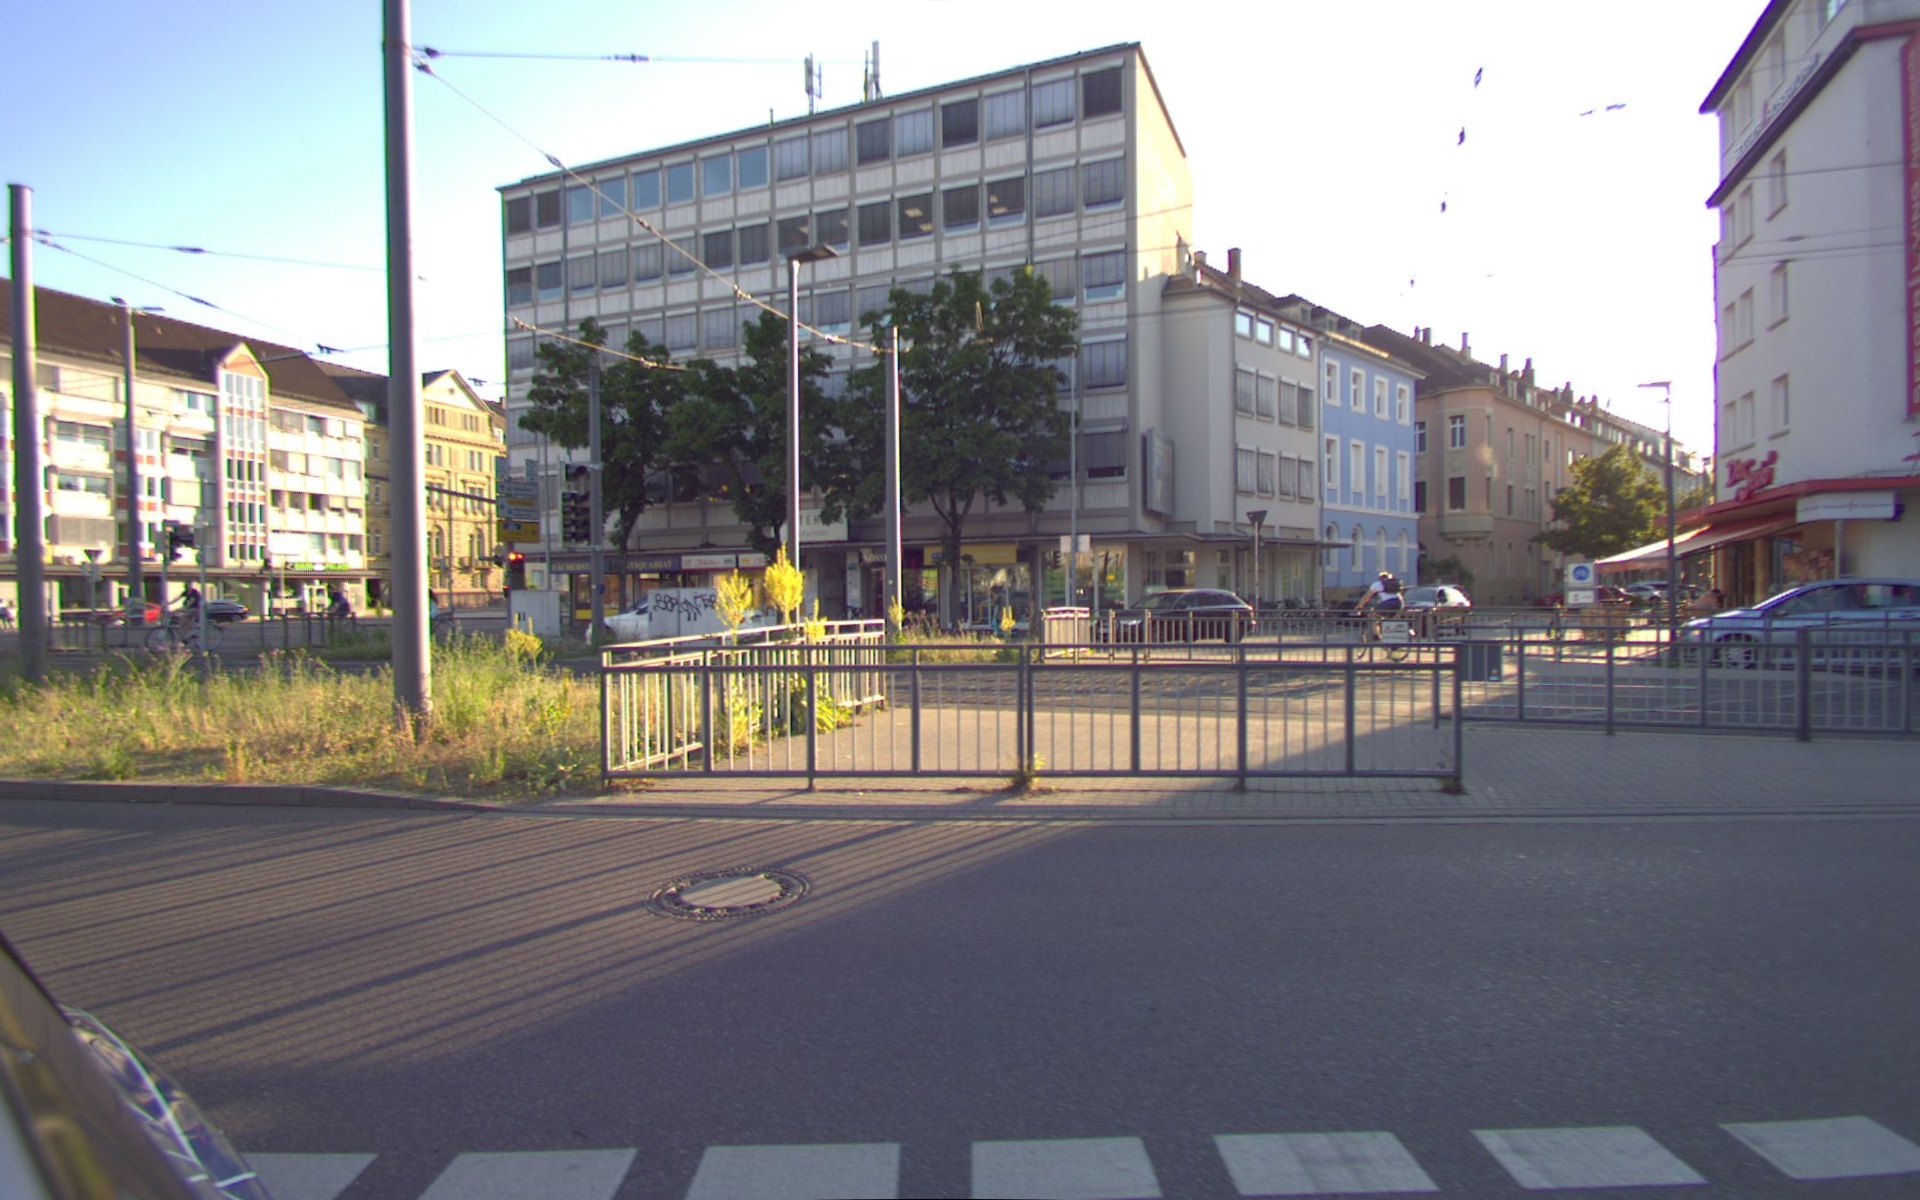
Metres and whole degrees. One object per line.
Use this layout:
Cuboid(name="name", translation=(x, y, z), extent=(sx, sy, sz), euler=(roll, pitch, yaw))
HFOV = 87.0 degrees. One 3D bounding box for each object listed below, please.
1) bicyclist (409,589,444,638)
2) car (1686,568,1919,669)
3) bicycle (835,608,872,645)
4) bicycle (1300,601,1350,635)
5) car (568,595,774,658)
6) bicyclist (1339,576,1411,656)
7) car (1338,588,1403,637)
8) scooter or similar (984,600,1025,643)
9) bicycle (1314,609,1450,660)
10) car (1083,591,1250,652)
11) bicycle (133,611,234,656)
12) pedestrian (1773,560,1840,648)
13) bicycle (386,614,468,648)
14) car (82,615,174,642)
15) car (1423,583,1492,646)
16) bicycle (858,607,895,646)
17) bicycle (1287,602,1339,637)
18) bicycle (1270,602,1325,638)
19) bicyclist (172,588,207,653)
Cuboid(name="bicyclist", translation=(-15.196, 0.386, 28.844), extent=(0.673, 1.380, 0.717), euler=(-1, 0, -6))
Cuboid(name="car", translation=(14.848, 0.276, 16.977), extent=(4.270, 1.571, 2.179), euler=(0, 1, 35))
Cuboid(name="bicycle", translation=(-3.548, 0.876, 33.912), extent=(0.660, 1.148, 1.737), euler=(0, 1, 15))
Cuboid(name="bicycle", translation=(13.727, 0.666, 38.064), extent=(1.685, 1.195, 0.479), euler=(3, 2, 40))
Cuboid(name="car", translation=(-7.277, 0.659, 25.639), extent=(4.616, 1.451, 2.032), euler=(-1, 1, 14))
Cuboid(name="bicyclist", translation=(7.738, 0.290, 18.911), extent=(0.821, 1.452, 0.934), euler=(0, 0, -23))
Cuboid(name="car", translation=(14.244, 0.397, 35.004), extent=(1.875, 1.586, 4.214), euler=(0, 0, 25))
Cuboid(name="scooter or similar", translation=(1.420, 0.667, 32.206), extent=(1.260, 1.332, 0.516), euler=(0, 0, -38))
Cuboid(name="bicycle", translation=(7.785, 0.604, 18.826), extent=(0.832, 0.853, 2.431), euler=(0, 0, -23))
Cuboid(name="car", translation=(5.431, 0.514, 26.467), extent=(4.299, 1.446, 1.742), euler=(-1, 0, -33))
Cuboid(name="bicycle", translation=(-19.911, 0.830, 25.961), extent=(2.025, 1.084, 0.758), euler=(-1, 0, -40))
Cuboid(name="pedestrian", translation=(17.744, 0.086, 21.235), extent=(0.805, 1.802, 0.849), euler=(-1, 0, 18))
Cuboid(name="bicycle", translation=(-15.175, 0.881, 28.853), extent=(1.924, 0.937, 0.725), euler=(-1, 0, -6))
Cuboid(name="car", translation=(-48.279, 1.627, 58.818), extent=(1.634, 1.433, 3.876), euler=(-1, 0, 16))
Cuboid(name="car", translation=(17.001, 0.444, 34.624), extent=(1.990, 2.029, 3.964), euler=(-1, 0, 27))
Cuboid(name="bicycle", translation=(-2.741, 0.855, 33.325), extent=(0.535, 1.194, 1.625), euler=(0, 1, 22))
Cuboid(name="bicycle", translation=(12.955, 0.714, 37.148), extent=(1.717, 1.195, 0.532), euler=(3, 2, 40))
Cuboid(name="bicycle", translation=(12.151, 0.693, 36.455), extent=(1.779, 1.195, 0.547), euler=(3, 2, 40))
Cuboid(name="bicyclist", translation=(-19.823, 0.514, 26.039), extent=(0.689, 1.624, 0.739), euler=(0, 0, -39))
